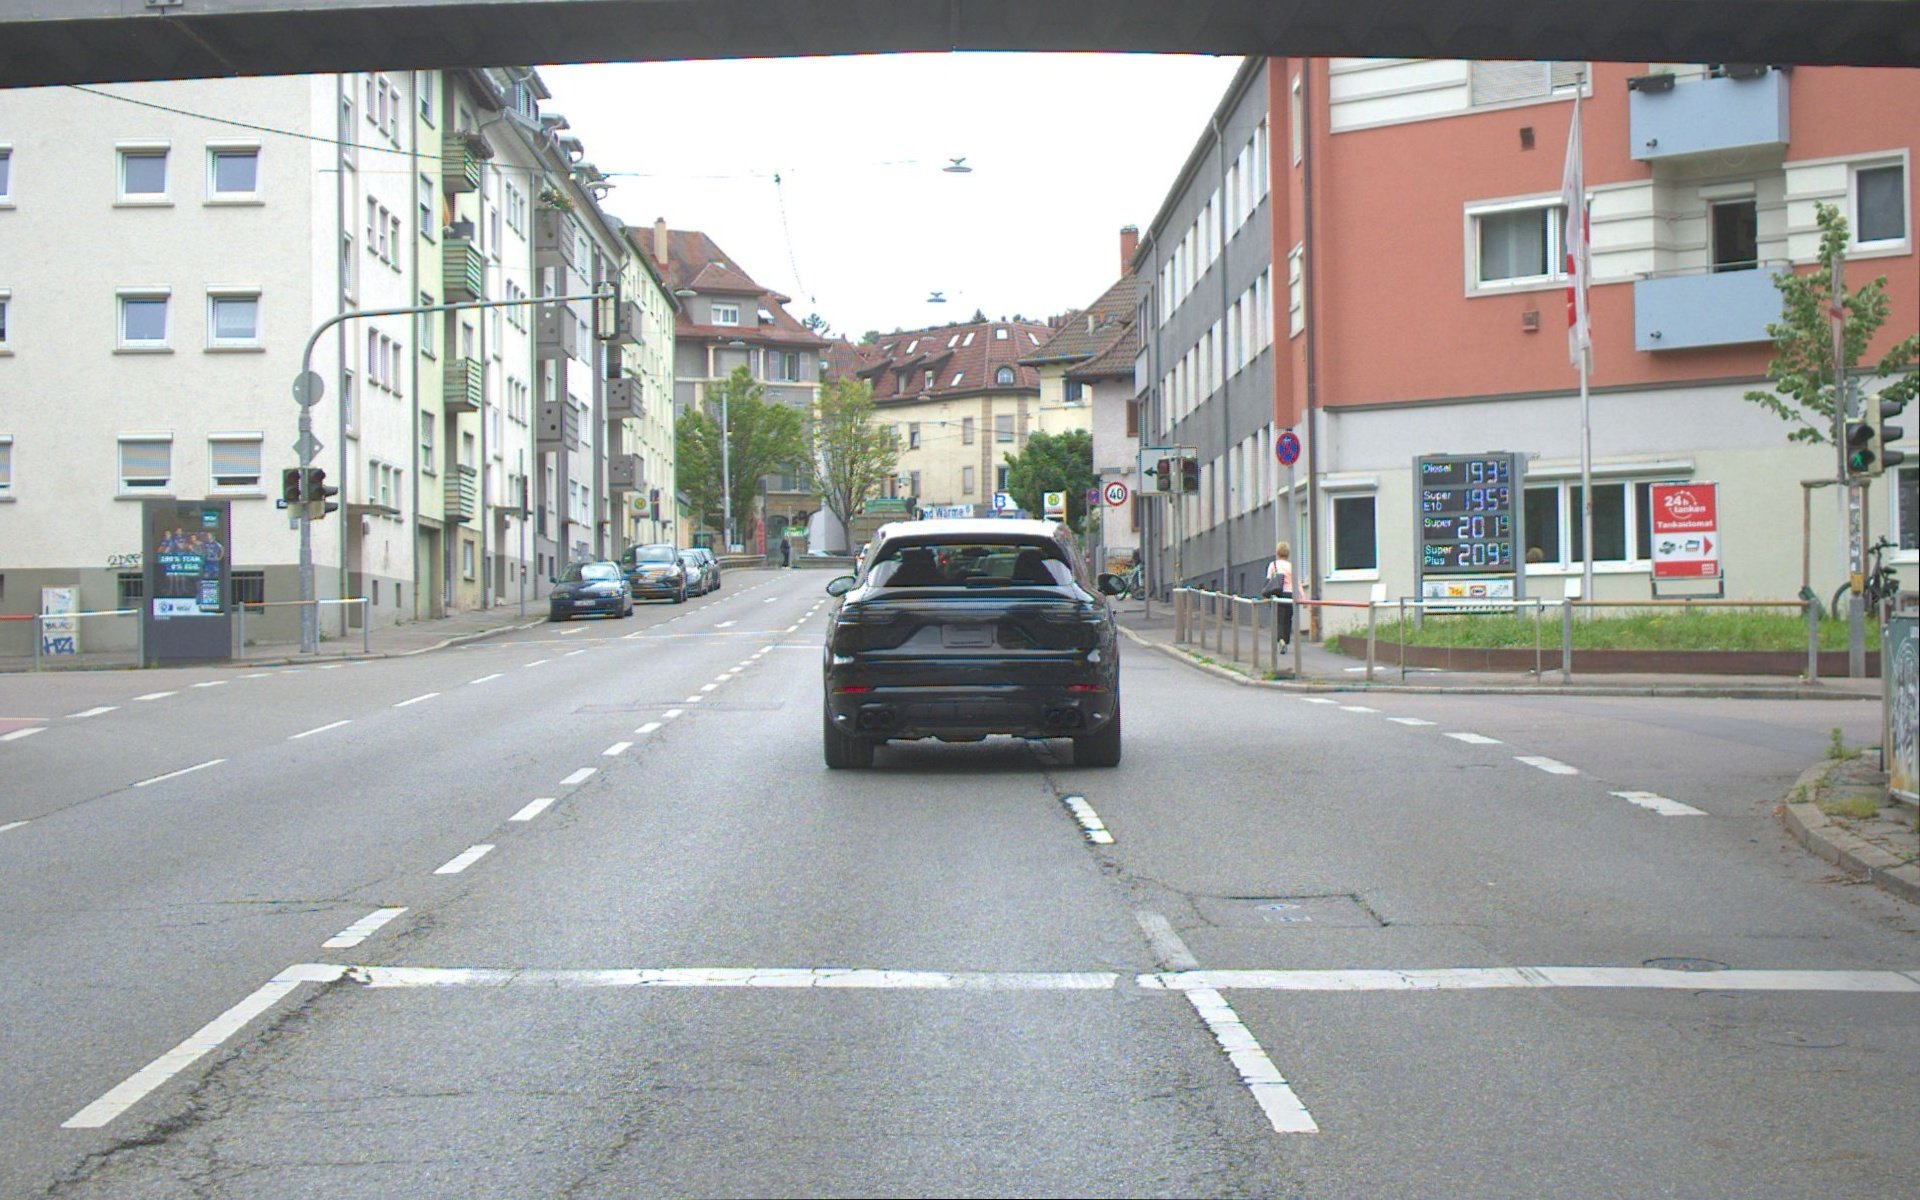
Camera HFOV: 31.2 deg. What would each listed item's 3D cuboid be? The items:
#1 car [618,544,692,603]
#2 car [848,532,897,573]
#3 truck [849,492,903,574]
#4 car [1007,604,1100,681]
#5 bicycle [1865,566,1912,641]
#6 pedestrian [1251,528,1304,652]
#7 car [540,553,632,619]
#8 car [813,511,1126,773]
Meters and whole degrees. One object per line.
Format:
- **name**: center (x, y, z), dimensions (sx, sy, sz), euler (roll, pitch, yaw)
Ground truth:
- **car**: center (-8.733, -0.784, 98.710), dimensions (1.765, 1.644, 4.000), euler (-1, 1, 0)
- **car**: center (-3.290, -1.799, 129.855), dimensions (1.765, 1.503, 4.000), euler (-1, 1, 0)
- **truck**: center (-3.659, -2.902, 150.105), dimensions (2.266, 3.412, 9.879), euler (-1, 1, -1)
- **car**: center (1.896, 0.853, 70.512), dimensions (1.741, 1.395, 4.001), euler (0, 2, -1)
- **bicycle**: center (11.421, 0.029, 42.280), dimensions (0.341, 0.900, 1.742), euler (0, 1, 22)
- **pedestrian**: center (4.608, -0.151, 49.919), dimensions (0.652, 1.786, 0.715), euler (0, 1, -3)
- **car**: center (-8.920, -0.357, 82.288), dimensions (1.765, 1.503, 4.000), euler (-1, 1, 0)
- **car**: center (0.038, 0.215, 23.970), dimensions (1.993, 1.656, 4.001), euler (0, 2, -1)
